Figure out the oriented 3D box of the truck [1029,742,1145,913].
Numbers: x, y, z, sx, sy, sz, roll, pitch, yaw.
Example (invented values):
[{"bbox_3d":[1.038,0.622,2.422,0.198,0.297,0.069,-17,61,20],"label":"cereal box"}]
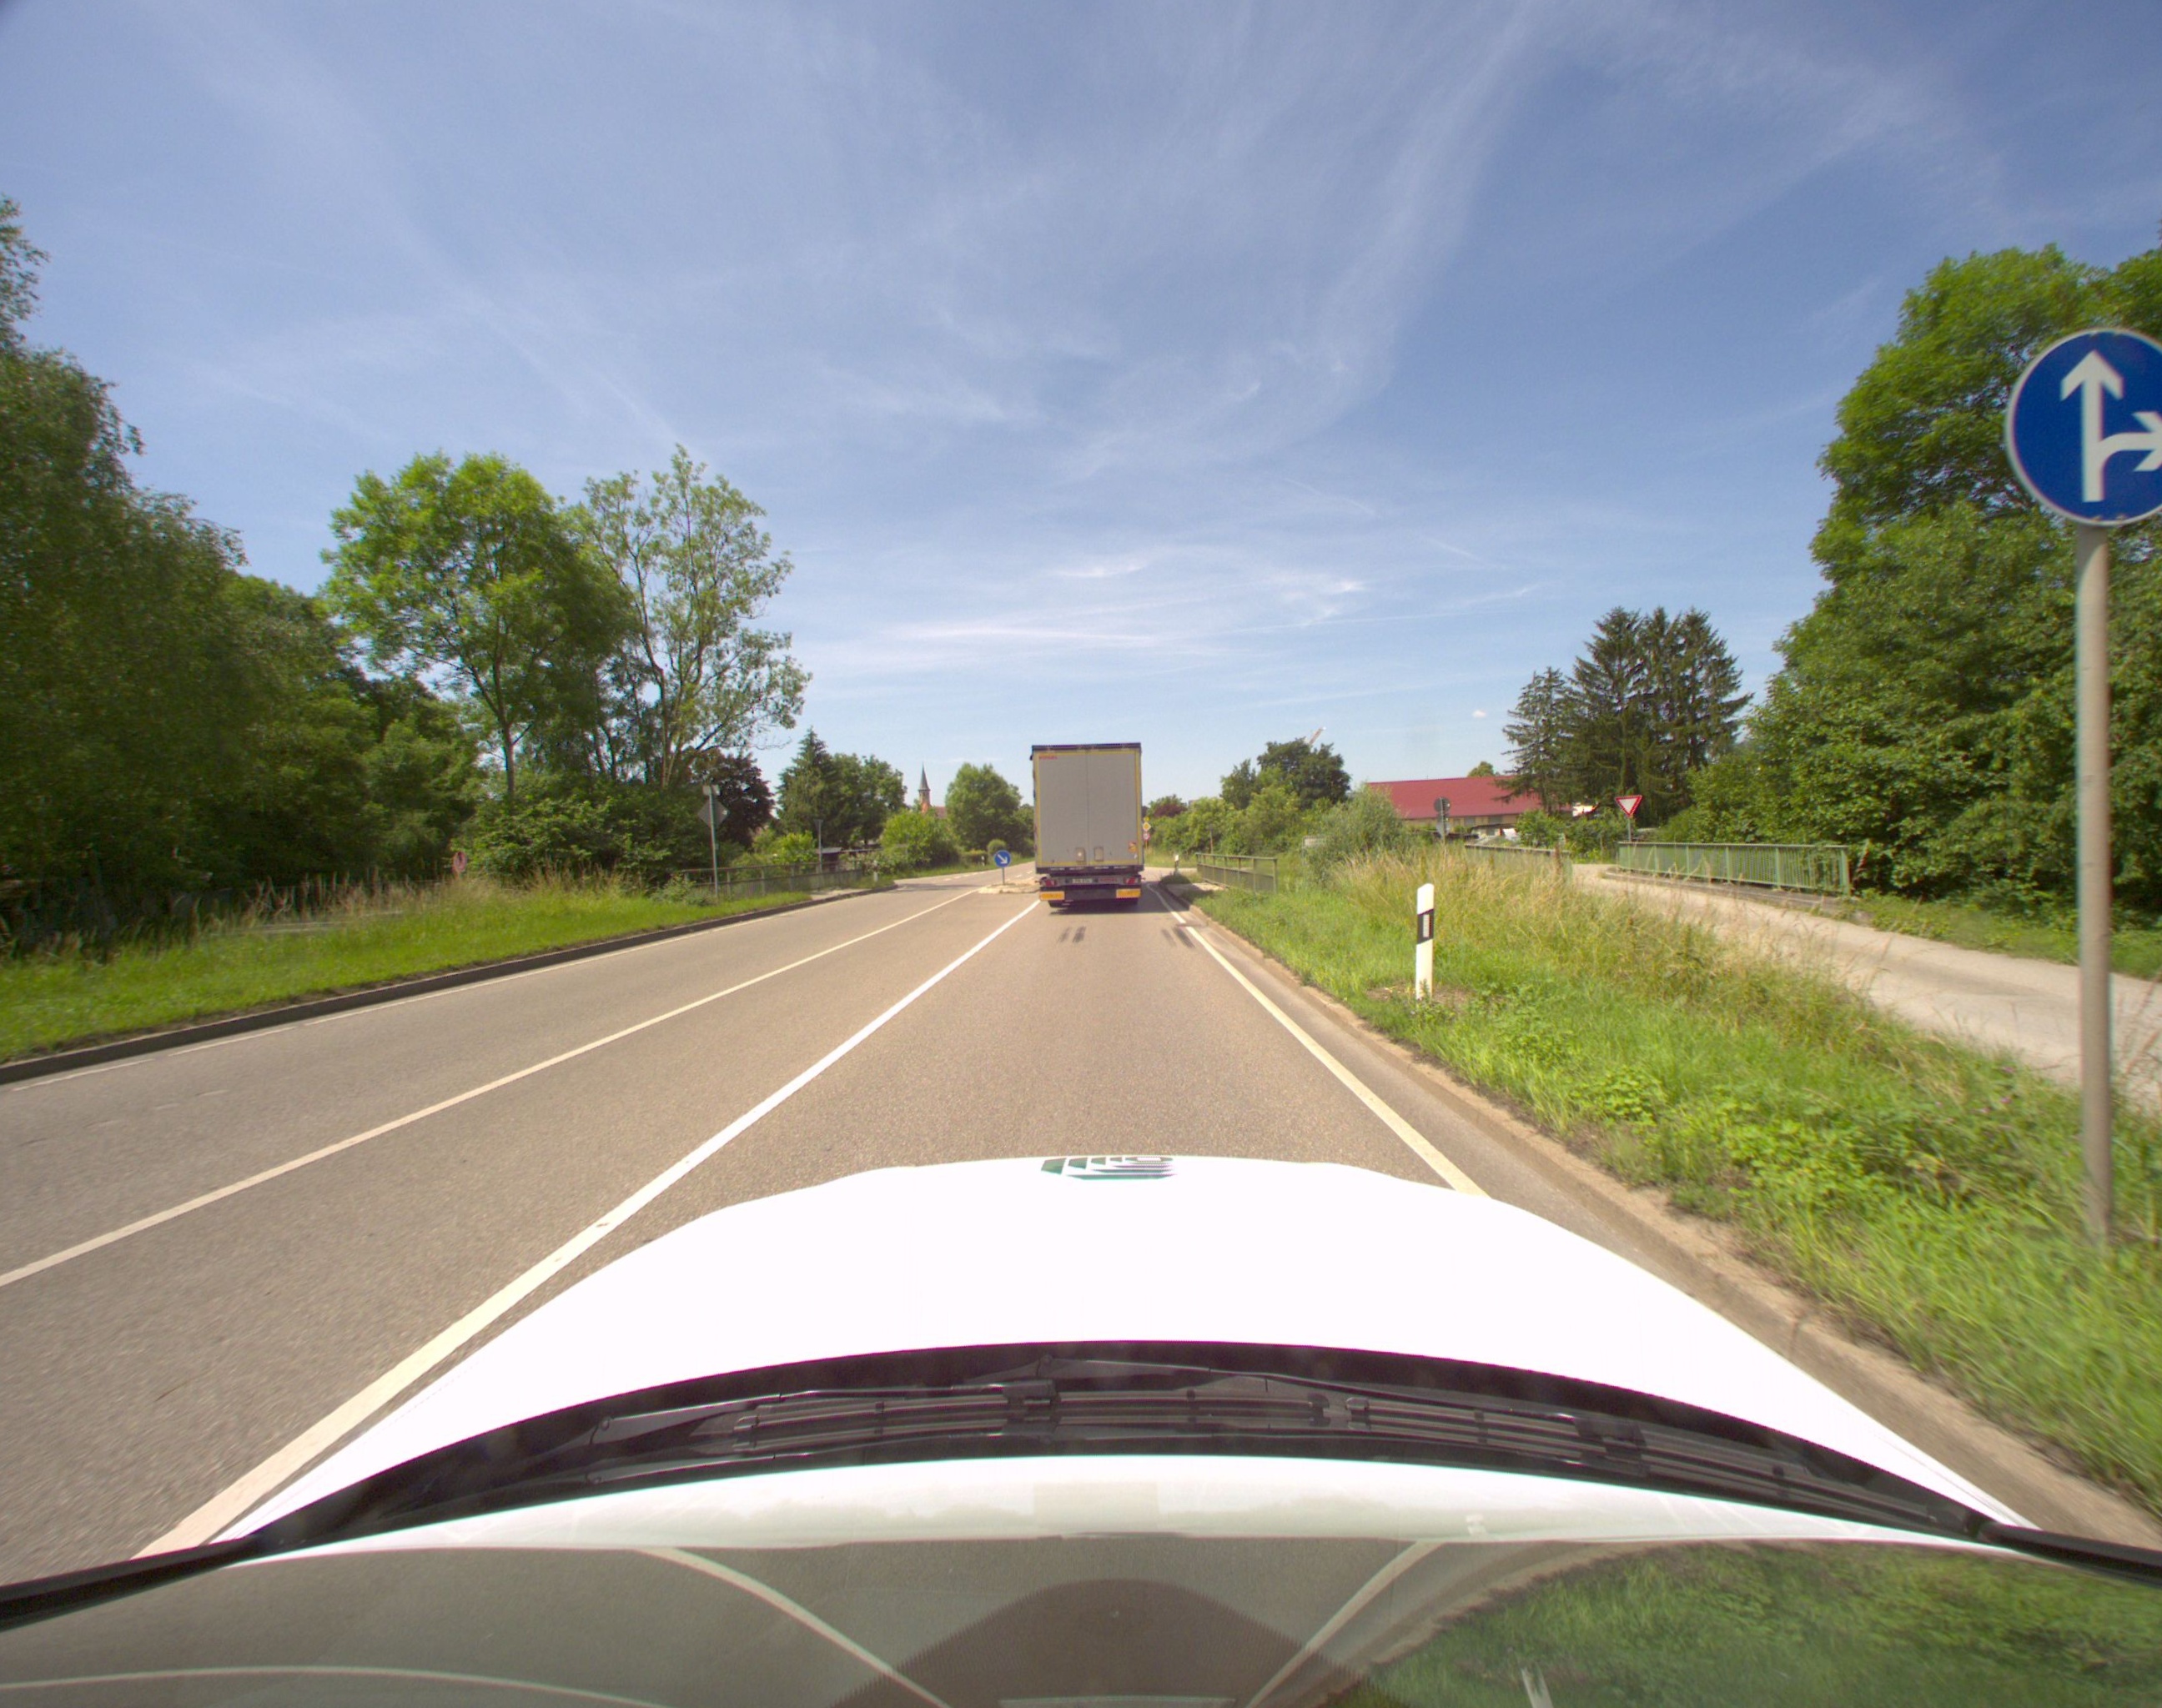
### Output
[{"bbox_3d":[0.169,-0.631,23.308,2.639,3.917,8.825,-1,0,0],"label":"truck"}]
